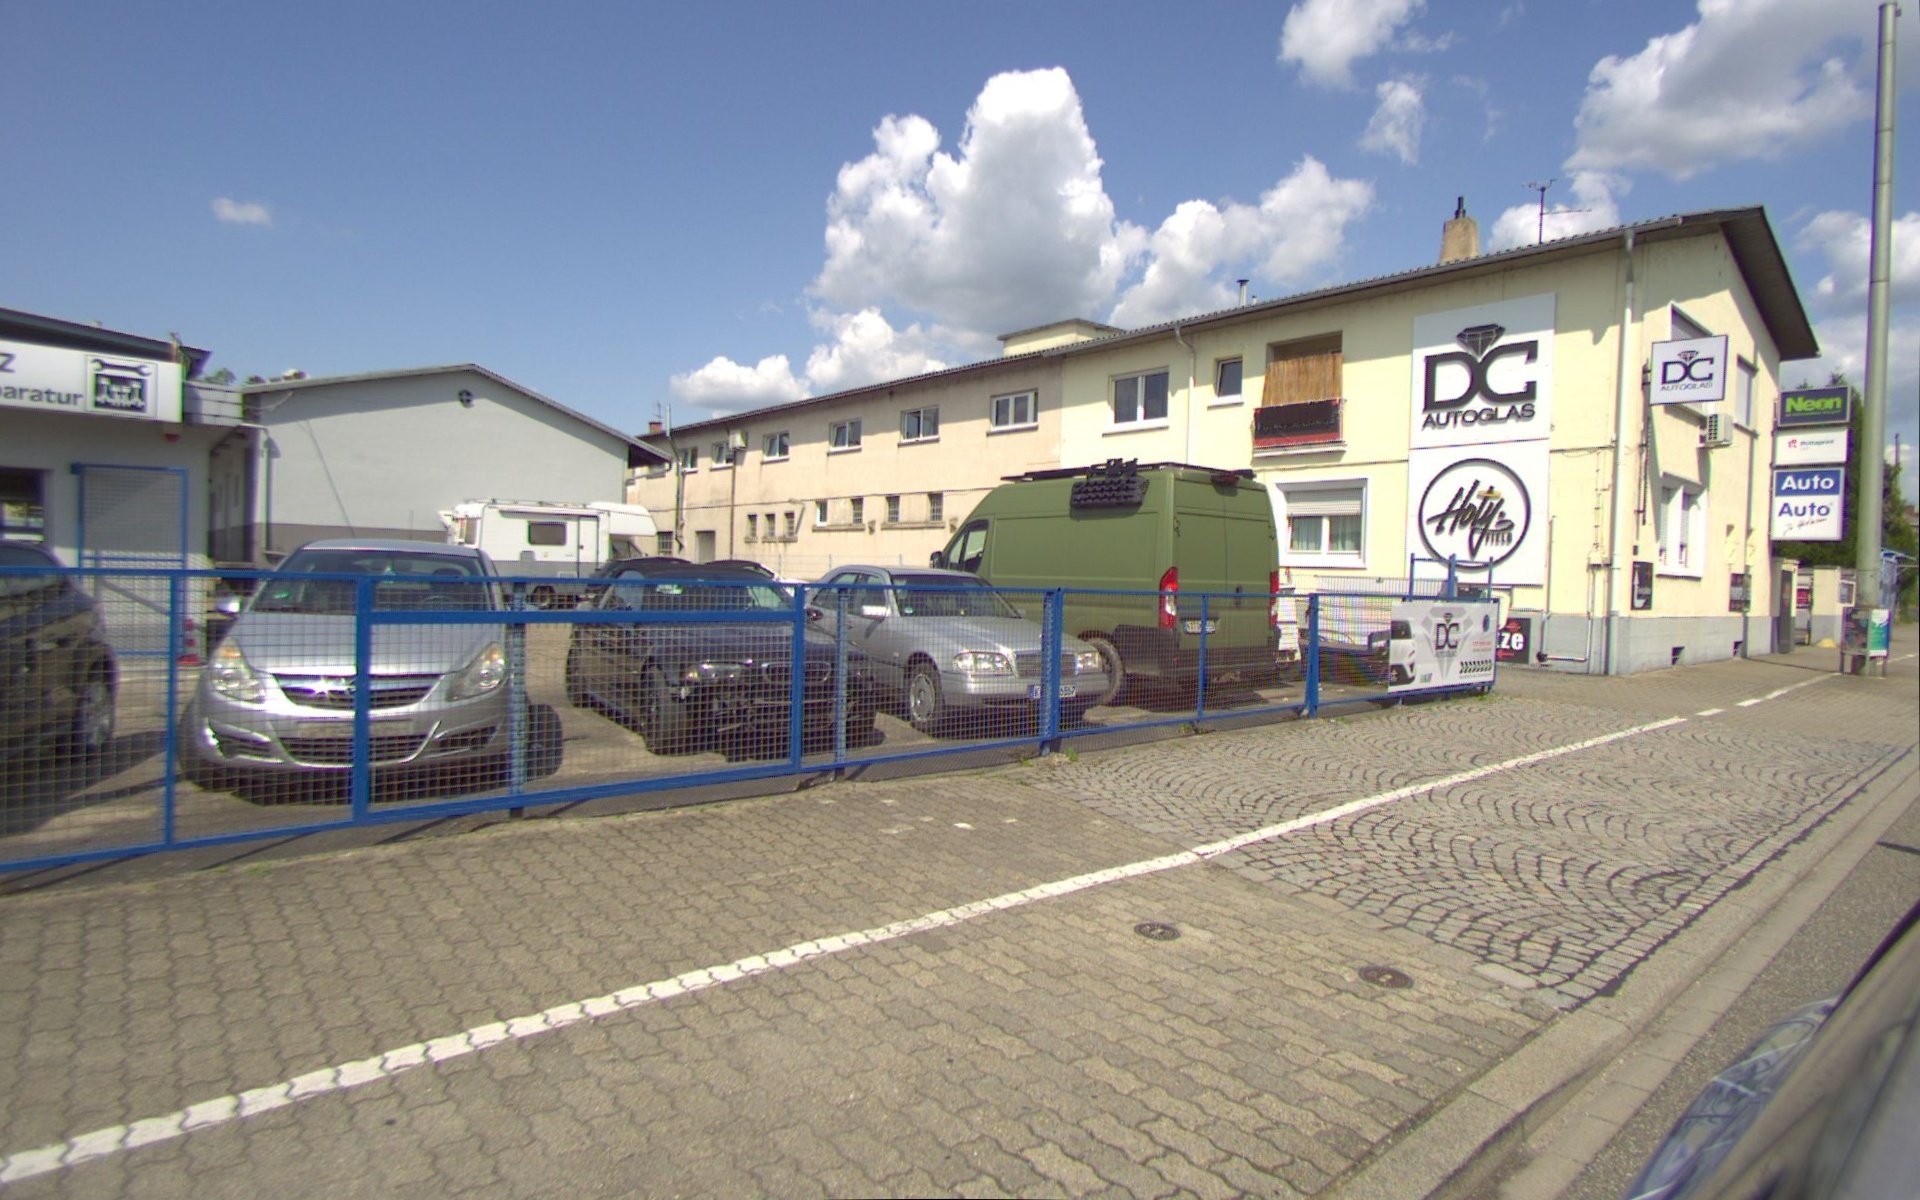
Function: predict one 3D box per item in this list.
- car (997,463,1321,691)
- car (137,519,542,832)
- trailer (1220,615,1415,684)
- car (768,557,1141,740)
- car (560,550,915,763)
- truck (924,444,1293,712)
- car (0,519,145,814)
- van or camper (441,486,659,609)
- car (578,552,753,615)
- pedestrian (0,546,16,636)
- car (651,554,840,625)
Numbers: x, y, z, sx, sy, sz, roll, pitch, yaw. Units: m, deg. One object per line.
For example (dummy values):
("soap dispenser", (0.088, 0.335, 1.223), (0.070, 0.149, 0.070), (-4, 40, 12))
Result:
("car", (2.613, -0.350, 14.142), (1.771, 2.702, 4.208), (1, 2, -40))
("car", (-3.950, 0.296, 7.101), (1.766, 1.497, 4.158), (1, 2, -24))
("trailer", (5.083, 0.665, 14.528), (1.245, 0.776, 2.330), (0, 2, -39))
("car", (-0.295, 0.314, 10.205), (1.768, 1.413, 4.216), (1, 2, -33))
("car", (-2.124, 0.305, 8.745), (1.768, 1.403, 3.837), (1, 2, -32))
("truck", (1.624, -0.290, 12.145), (2.033, 2.639, 3.996), (1, 2, -40))
("car", (-5.746, 0.318, 5.033), (1.685, 1.497, 4.012), (1, 2, -25))
("van or camper", (-11.006, -1.328, 27.368), (4.971, 2.999, 2.284), (0, 2, -42))
("car", (-7.478, -0.415, 25.889), (3.939, 1.497, 1.719), (0, 2, -41))
("pedestrian", (-13.257, -0.134, 13.840), (0.479, 1.228, 0.501), (1, 1, -42))
("car", (-4.925, -0.251, 23.519), (3.939, 1.497, 1.719), (0, 2, -41))
